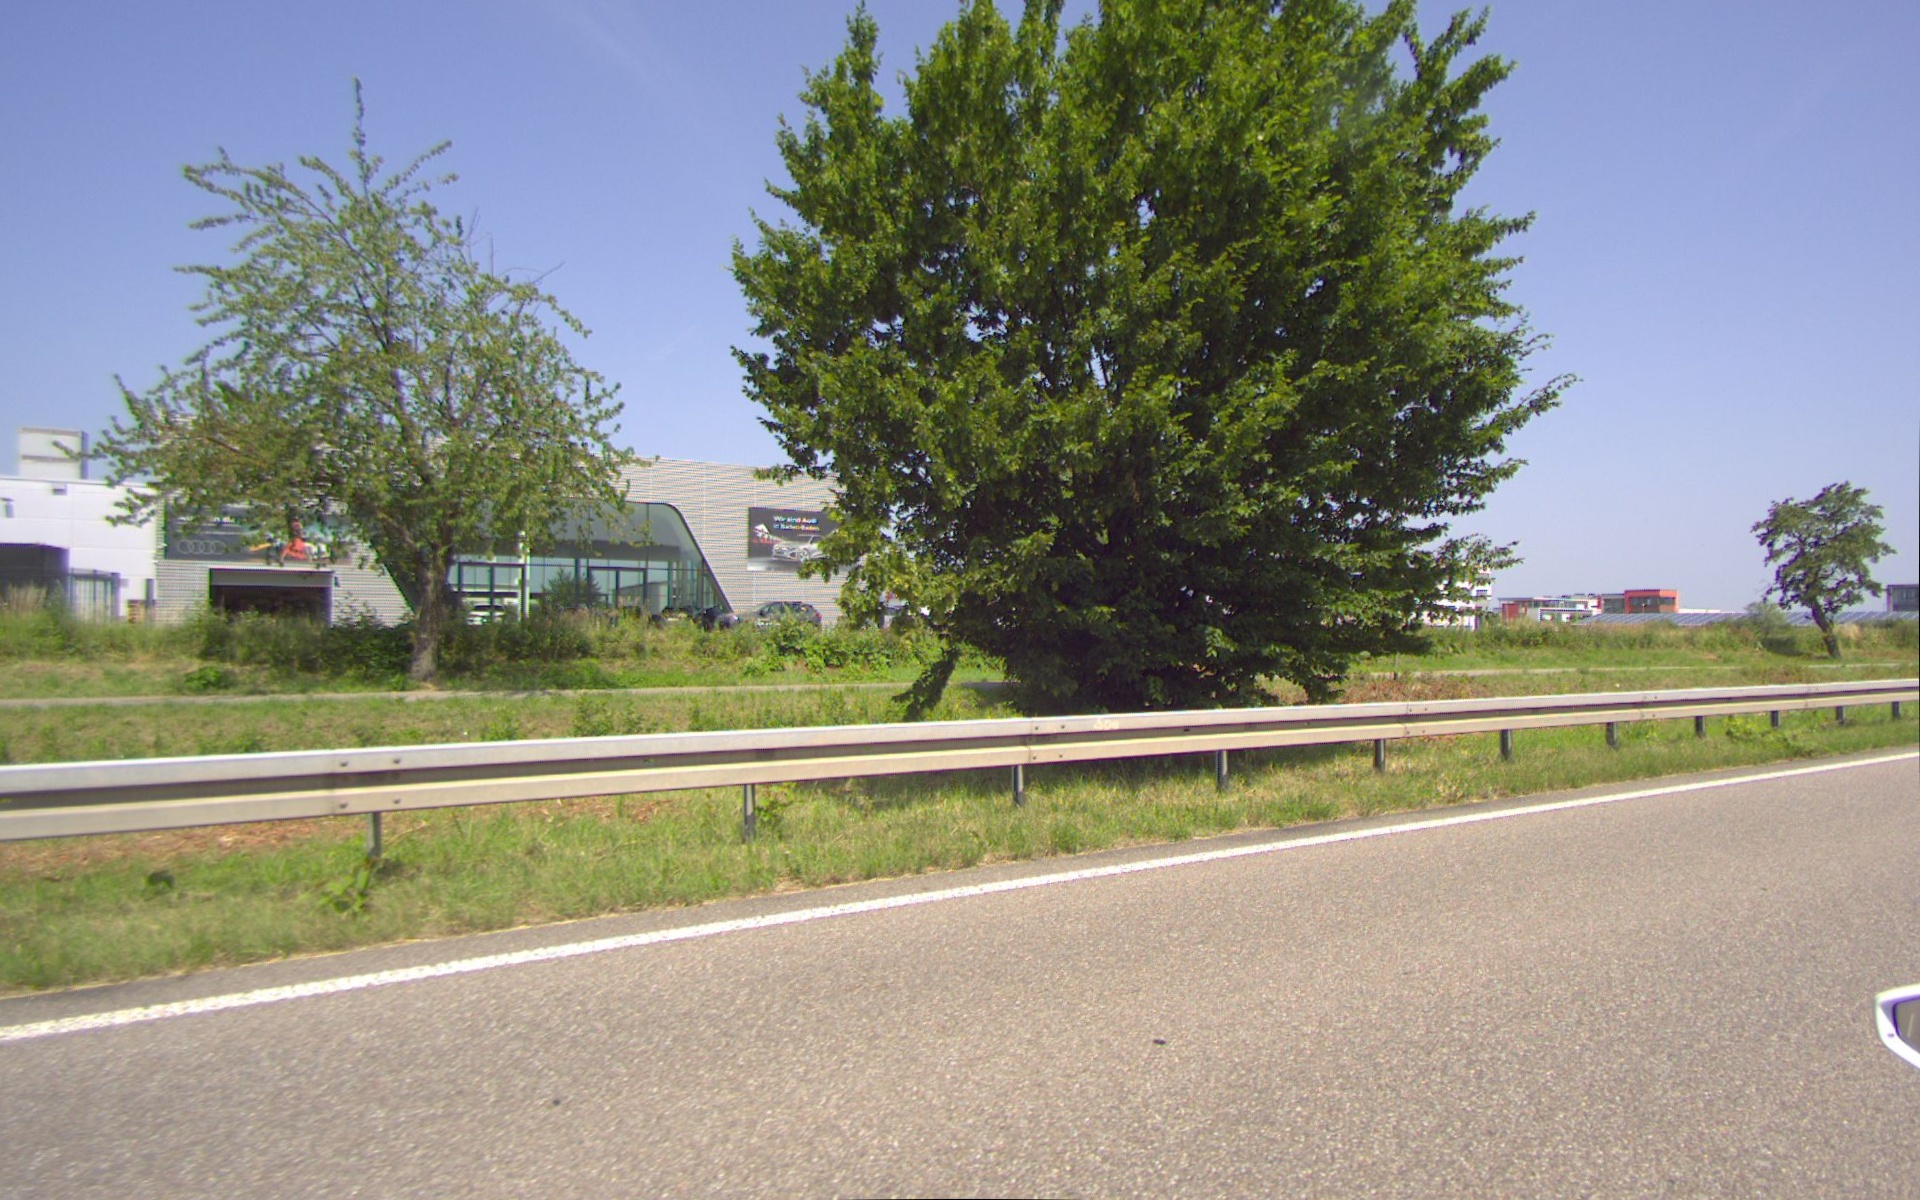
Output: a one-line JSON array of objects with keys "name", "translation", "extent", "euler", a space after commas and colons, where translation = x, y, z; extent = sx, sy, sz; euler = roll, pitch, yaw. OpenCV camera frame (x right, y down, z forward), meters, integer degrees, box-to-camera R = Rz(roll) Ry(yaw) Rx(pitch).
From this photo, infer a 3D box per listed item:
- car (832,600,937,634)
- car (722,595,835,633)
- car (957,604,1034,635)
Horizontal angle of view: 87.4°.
[{"name": "car", "translation": [-3.468, 0.827, 46.436], "extent": [4.609, 1.456, 1.740], "euler": [1, -3, -29]}, {"name": "car", "translation": [-7.968, 0.650, 44.265], "extent": [4.609, 1.557, 1.739], "euler": [1, -3, -30]}, {"name": "car", "translation": [1.687, 0.996, 49.592], "extent": [1.608, 1.456, 4.198], "euler": [2, -3, -35]}]
